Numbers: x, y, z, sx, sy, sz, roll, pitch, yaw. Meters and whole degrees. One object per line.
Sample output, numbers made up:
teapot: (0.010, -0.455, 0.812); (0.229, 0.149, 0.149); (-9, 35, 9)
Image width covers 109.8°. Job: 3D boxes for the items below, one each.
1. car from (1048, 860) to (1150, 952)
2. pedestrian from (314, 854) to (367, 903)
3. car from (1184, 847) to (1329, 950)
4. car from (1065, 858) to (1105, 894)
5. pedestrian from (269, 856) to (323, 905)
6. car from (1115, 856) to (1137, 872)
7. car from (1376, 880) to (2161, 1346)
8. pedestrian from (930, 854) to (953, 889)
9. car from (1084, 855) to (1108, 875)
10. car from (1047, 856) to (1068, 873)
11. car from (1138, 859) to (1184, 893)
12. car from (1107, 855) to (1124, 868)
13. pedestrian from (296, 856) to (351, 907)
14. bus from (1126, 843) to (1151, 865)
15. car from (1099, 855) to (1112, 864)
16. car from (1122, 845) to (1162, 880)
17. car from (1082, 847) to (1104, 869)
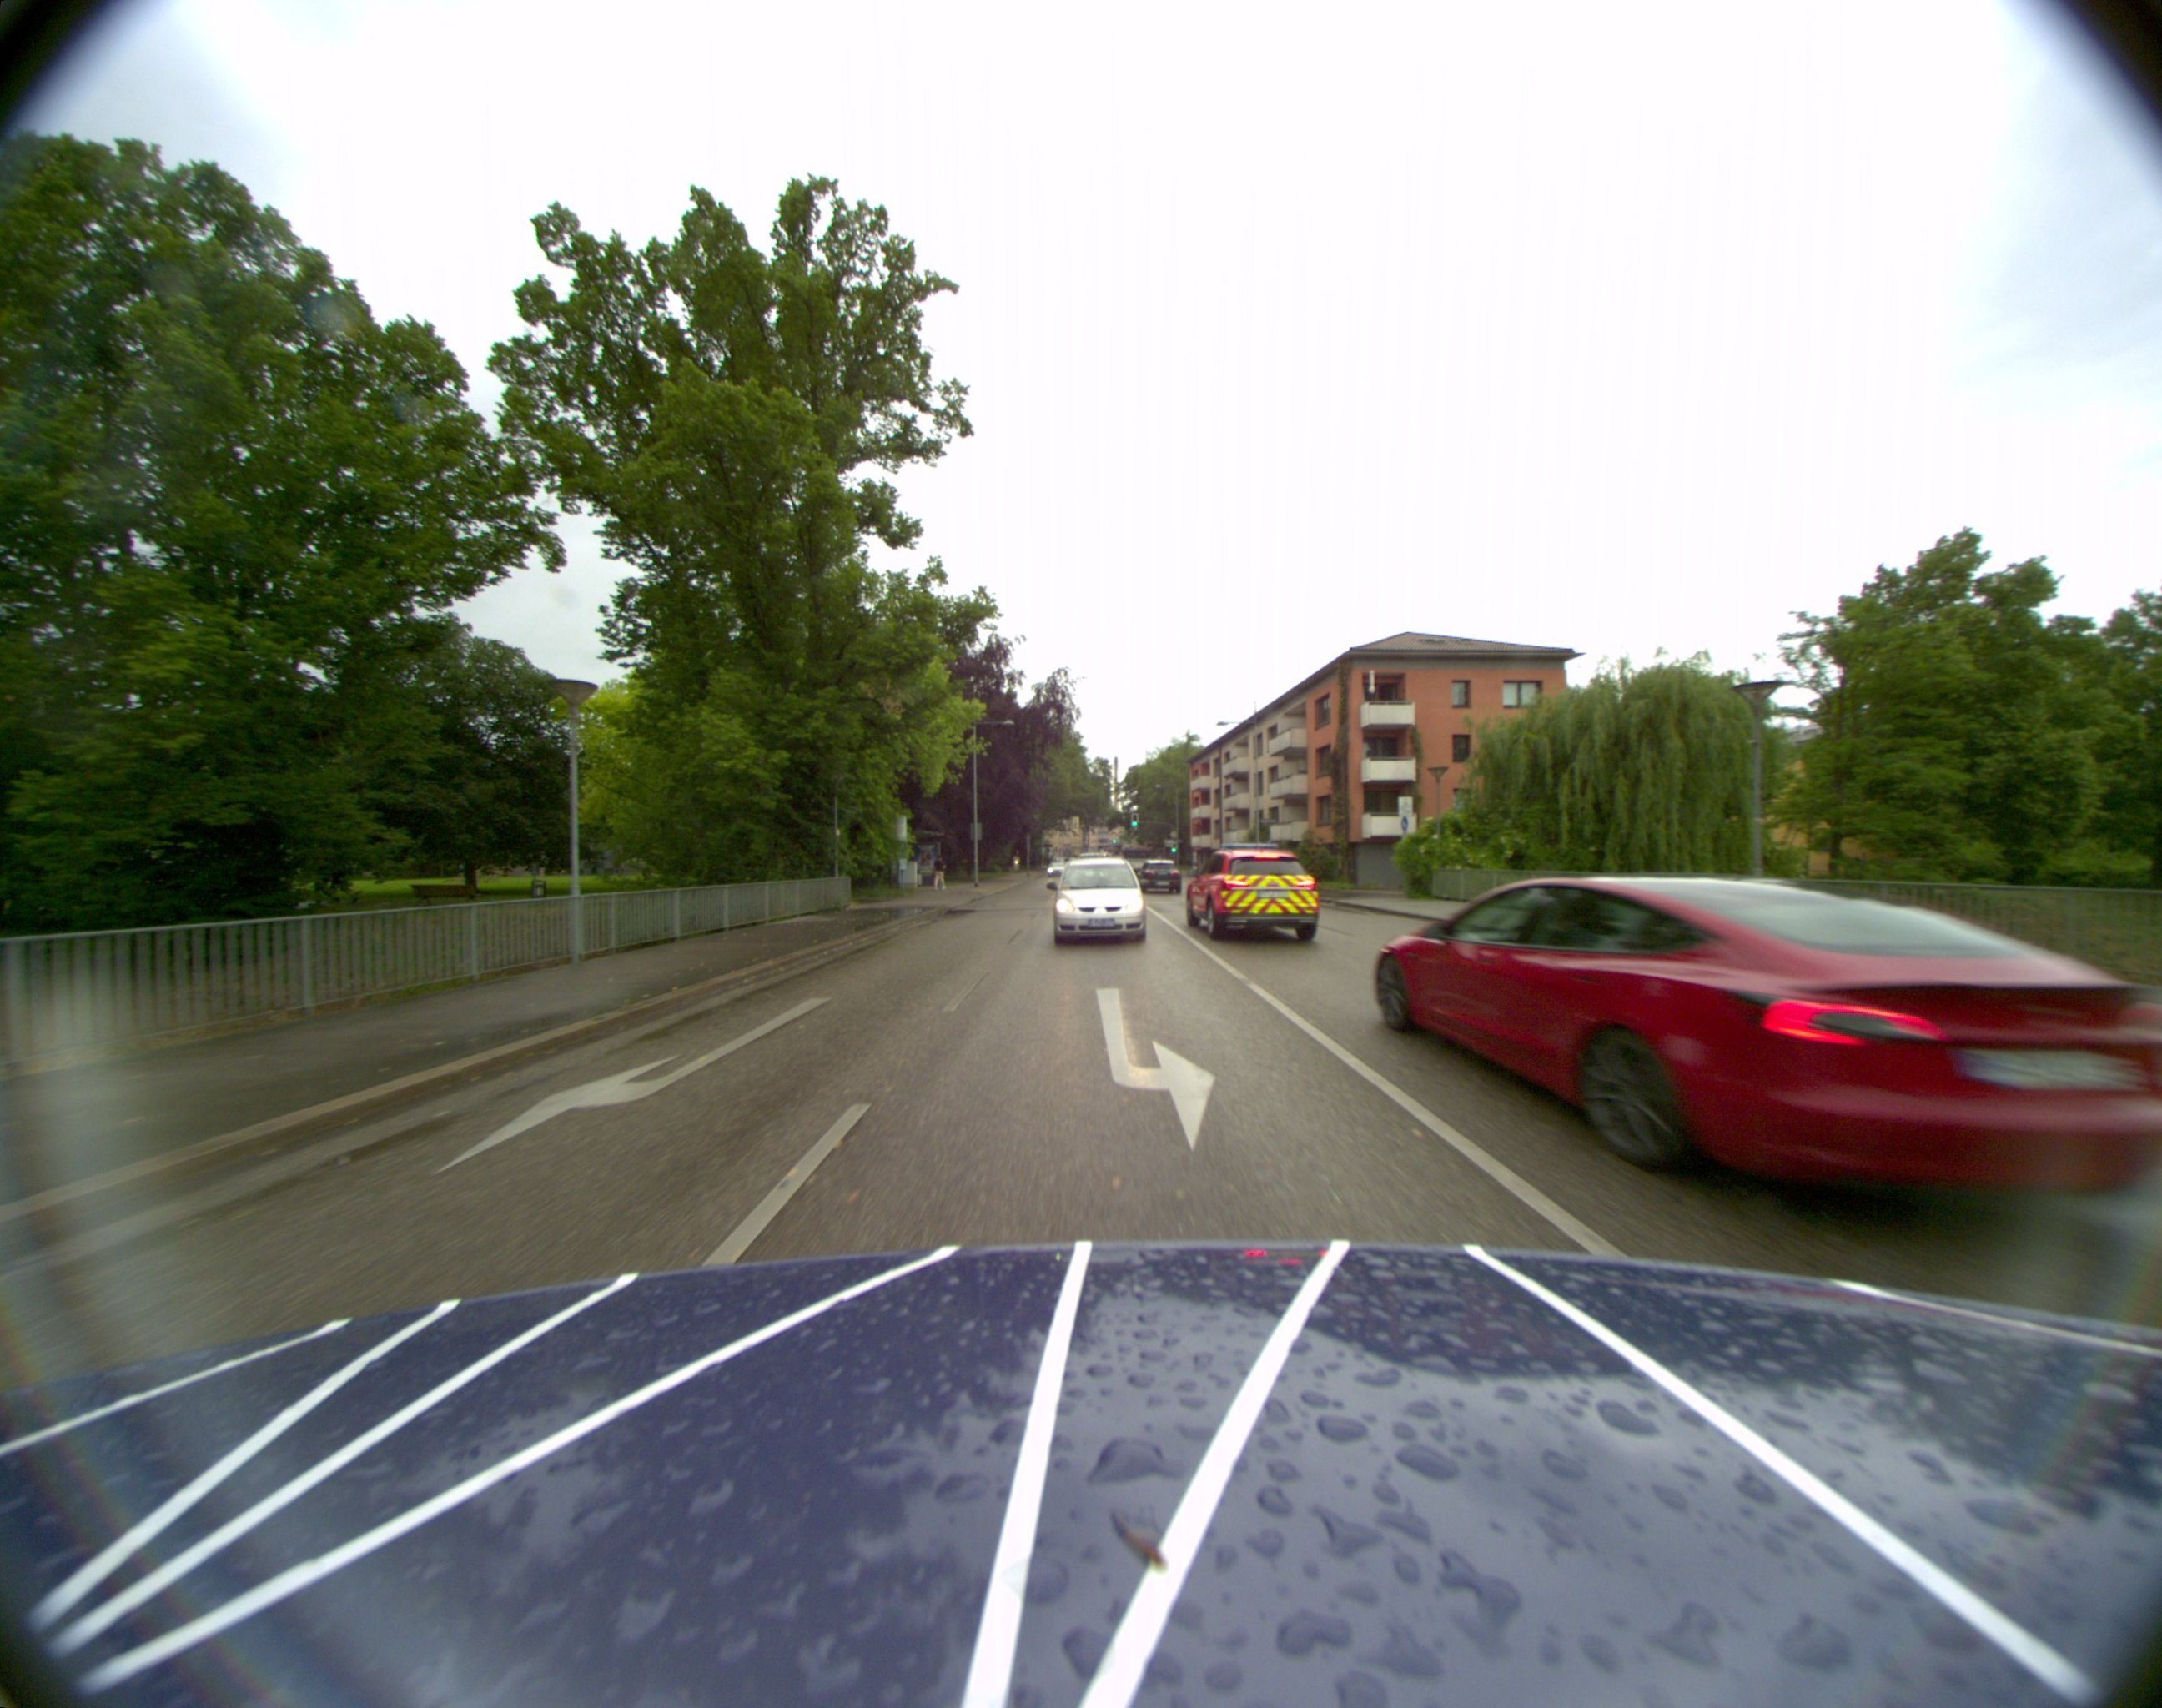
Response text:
car: (0.326, 0.914, 15.457); (1.718, 1.509, 4.807); (-1, 0, 0)
pedestrian: (-26.583, 0.870, 27.301); (1.060, 1.742, 0.781); (-1, 1, -4)
car: (3.237, 0.747, 14.946); (1.893, 1.725, 4.371); (0, 0, 1)
car: (0.201, 0.994, 35.333); (1.718, 1.509, 4.088); (-1, 0, 0)
pedestrian: (-28.197, 0.942, 27.318); (1.060, 1.742, 0.781); (-1, 1, -4)
car: (4.162, 0.933, 70.924); (1.786, 1.465, 4.167); (0, 0, 0)
car: (3.480, 0.930, 4.616); (1.786, 1.394, 4.218); (0, 0, 1)
pedestrian: (-6.797, 0.824, 37.114); (0.850, 1.666, 1.167); (1, 1, 0)
car: (1.209, 0.820, 59.593); (1.800, 1.449, 4.491); (0, 0, 1)
car: (-2.321, 1.057, 75.646); (1.906, 1.537, 4.000); (-1, 1, 1)
car: (3.614, 0.949, 34.819); (1.750, 1.431, 4.000); (0, 0, 1)
car: (4.331, 0.901, 96.012); (1.818, 1.569, 4.231); (0, 0, -1)
pedestrian: (-26.269, 0.944, 26.362); (1.060, 1.742, 0.781); (-1, 1, -4)
bus: (8.258, -0.054, 110.274); (2.700, 2.923, 12.083); (0, 1, 0)
car: (3.658, 0.814, 113.663); (1.818, 1.407, 4.048); (0, 0, -1)
car: (4.173, 0.592, 52.980); (2.295, 2.295, 6.509); (0, 0, 0)
car: (1.174, 0.356, 73.936); (2.037, 2.119, 4.000); (-1, 1, 1)
